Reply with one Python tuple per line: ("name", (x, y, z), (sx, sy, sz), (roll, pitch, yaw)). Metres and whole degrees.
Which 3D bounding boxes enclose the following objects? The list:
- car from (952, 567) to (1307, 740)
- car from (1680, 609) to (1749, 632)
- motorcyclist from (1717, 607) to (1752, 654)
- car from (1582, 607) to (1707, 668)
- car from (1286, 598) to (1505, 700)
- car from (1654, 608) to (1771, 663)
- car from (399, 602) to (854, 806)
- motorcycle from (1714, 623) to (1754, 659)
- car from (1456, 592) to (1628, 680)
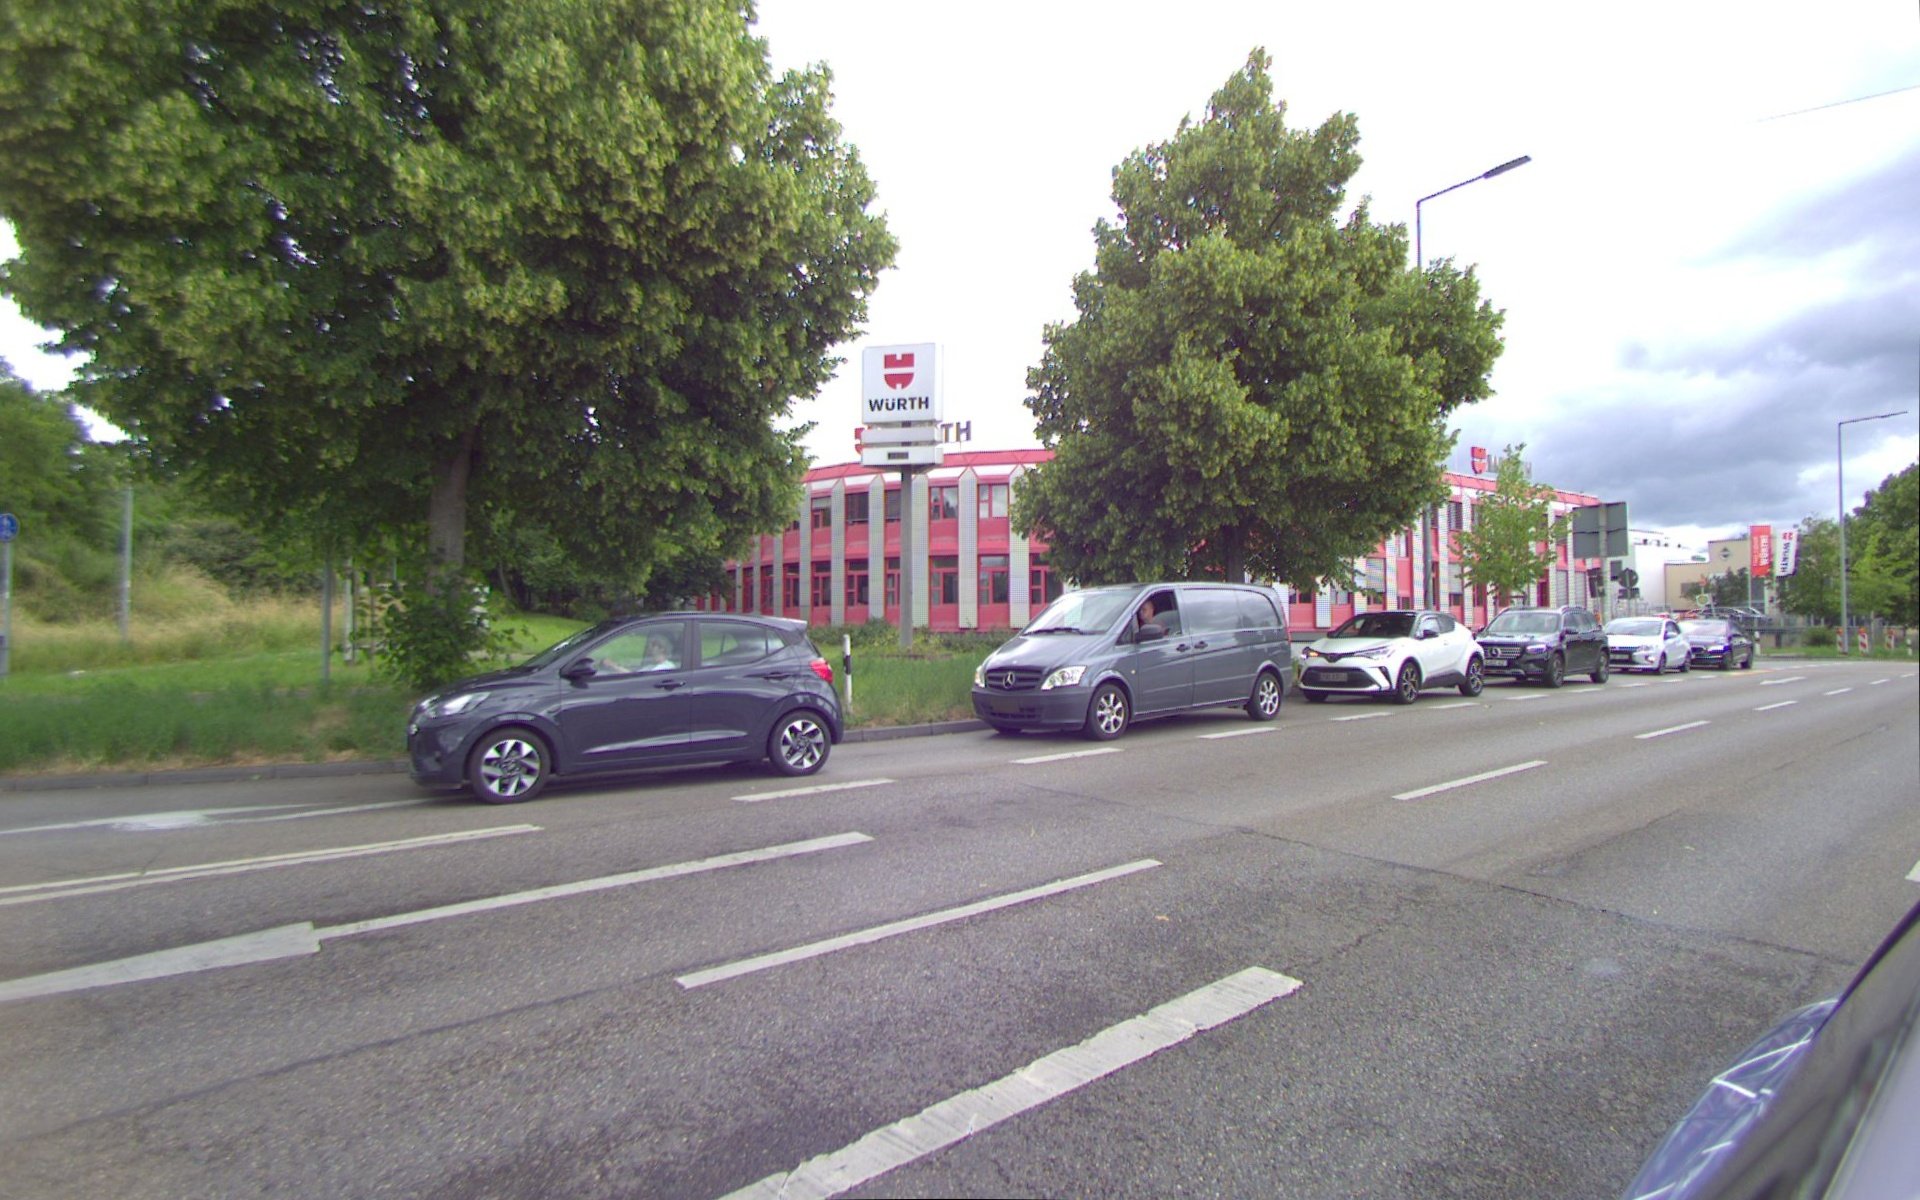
("car", (2.309, 0.618, 13.094), (4.636, 1.858, 1.919), (0, -3, -39))
("car", (61.801, 1.686, 82.963), (1.752, 1.776, 4.247), (0, 0, -39))
("motorcyclist", (25.252, 1.003, 32.981), (0.918, 1.510, 0.748), (2, -3, -44))
("car", (18.181, 0.994, 26.818), (3.766, 1.461, 1.784), (3, -1, -40))
("car", (7.591, 0.795, 17.456), (4.230, 1.555, 1.783), (0, -3, -41))
("car", (22.209, 1.057, 29.818), (4.446, 1.464, 1.784), (3, -1, -40))
("car", (-2.901, 0.790, 8.941), (3.543, 1.449, 1.626), (0, -3, -31))
("motorcycle", (25.157, 1.325, 32.872), (1.911, 1.162, 0.748), (2, -3, -45))
("car", (12.472, 0.757, 21.570), (4.346, 1.671, 1.784), (3, -1, -40))
